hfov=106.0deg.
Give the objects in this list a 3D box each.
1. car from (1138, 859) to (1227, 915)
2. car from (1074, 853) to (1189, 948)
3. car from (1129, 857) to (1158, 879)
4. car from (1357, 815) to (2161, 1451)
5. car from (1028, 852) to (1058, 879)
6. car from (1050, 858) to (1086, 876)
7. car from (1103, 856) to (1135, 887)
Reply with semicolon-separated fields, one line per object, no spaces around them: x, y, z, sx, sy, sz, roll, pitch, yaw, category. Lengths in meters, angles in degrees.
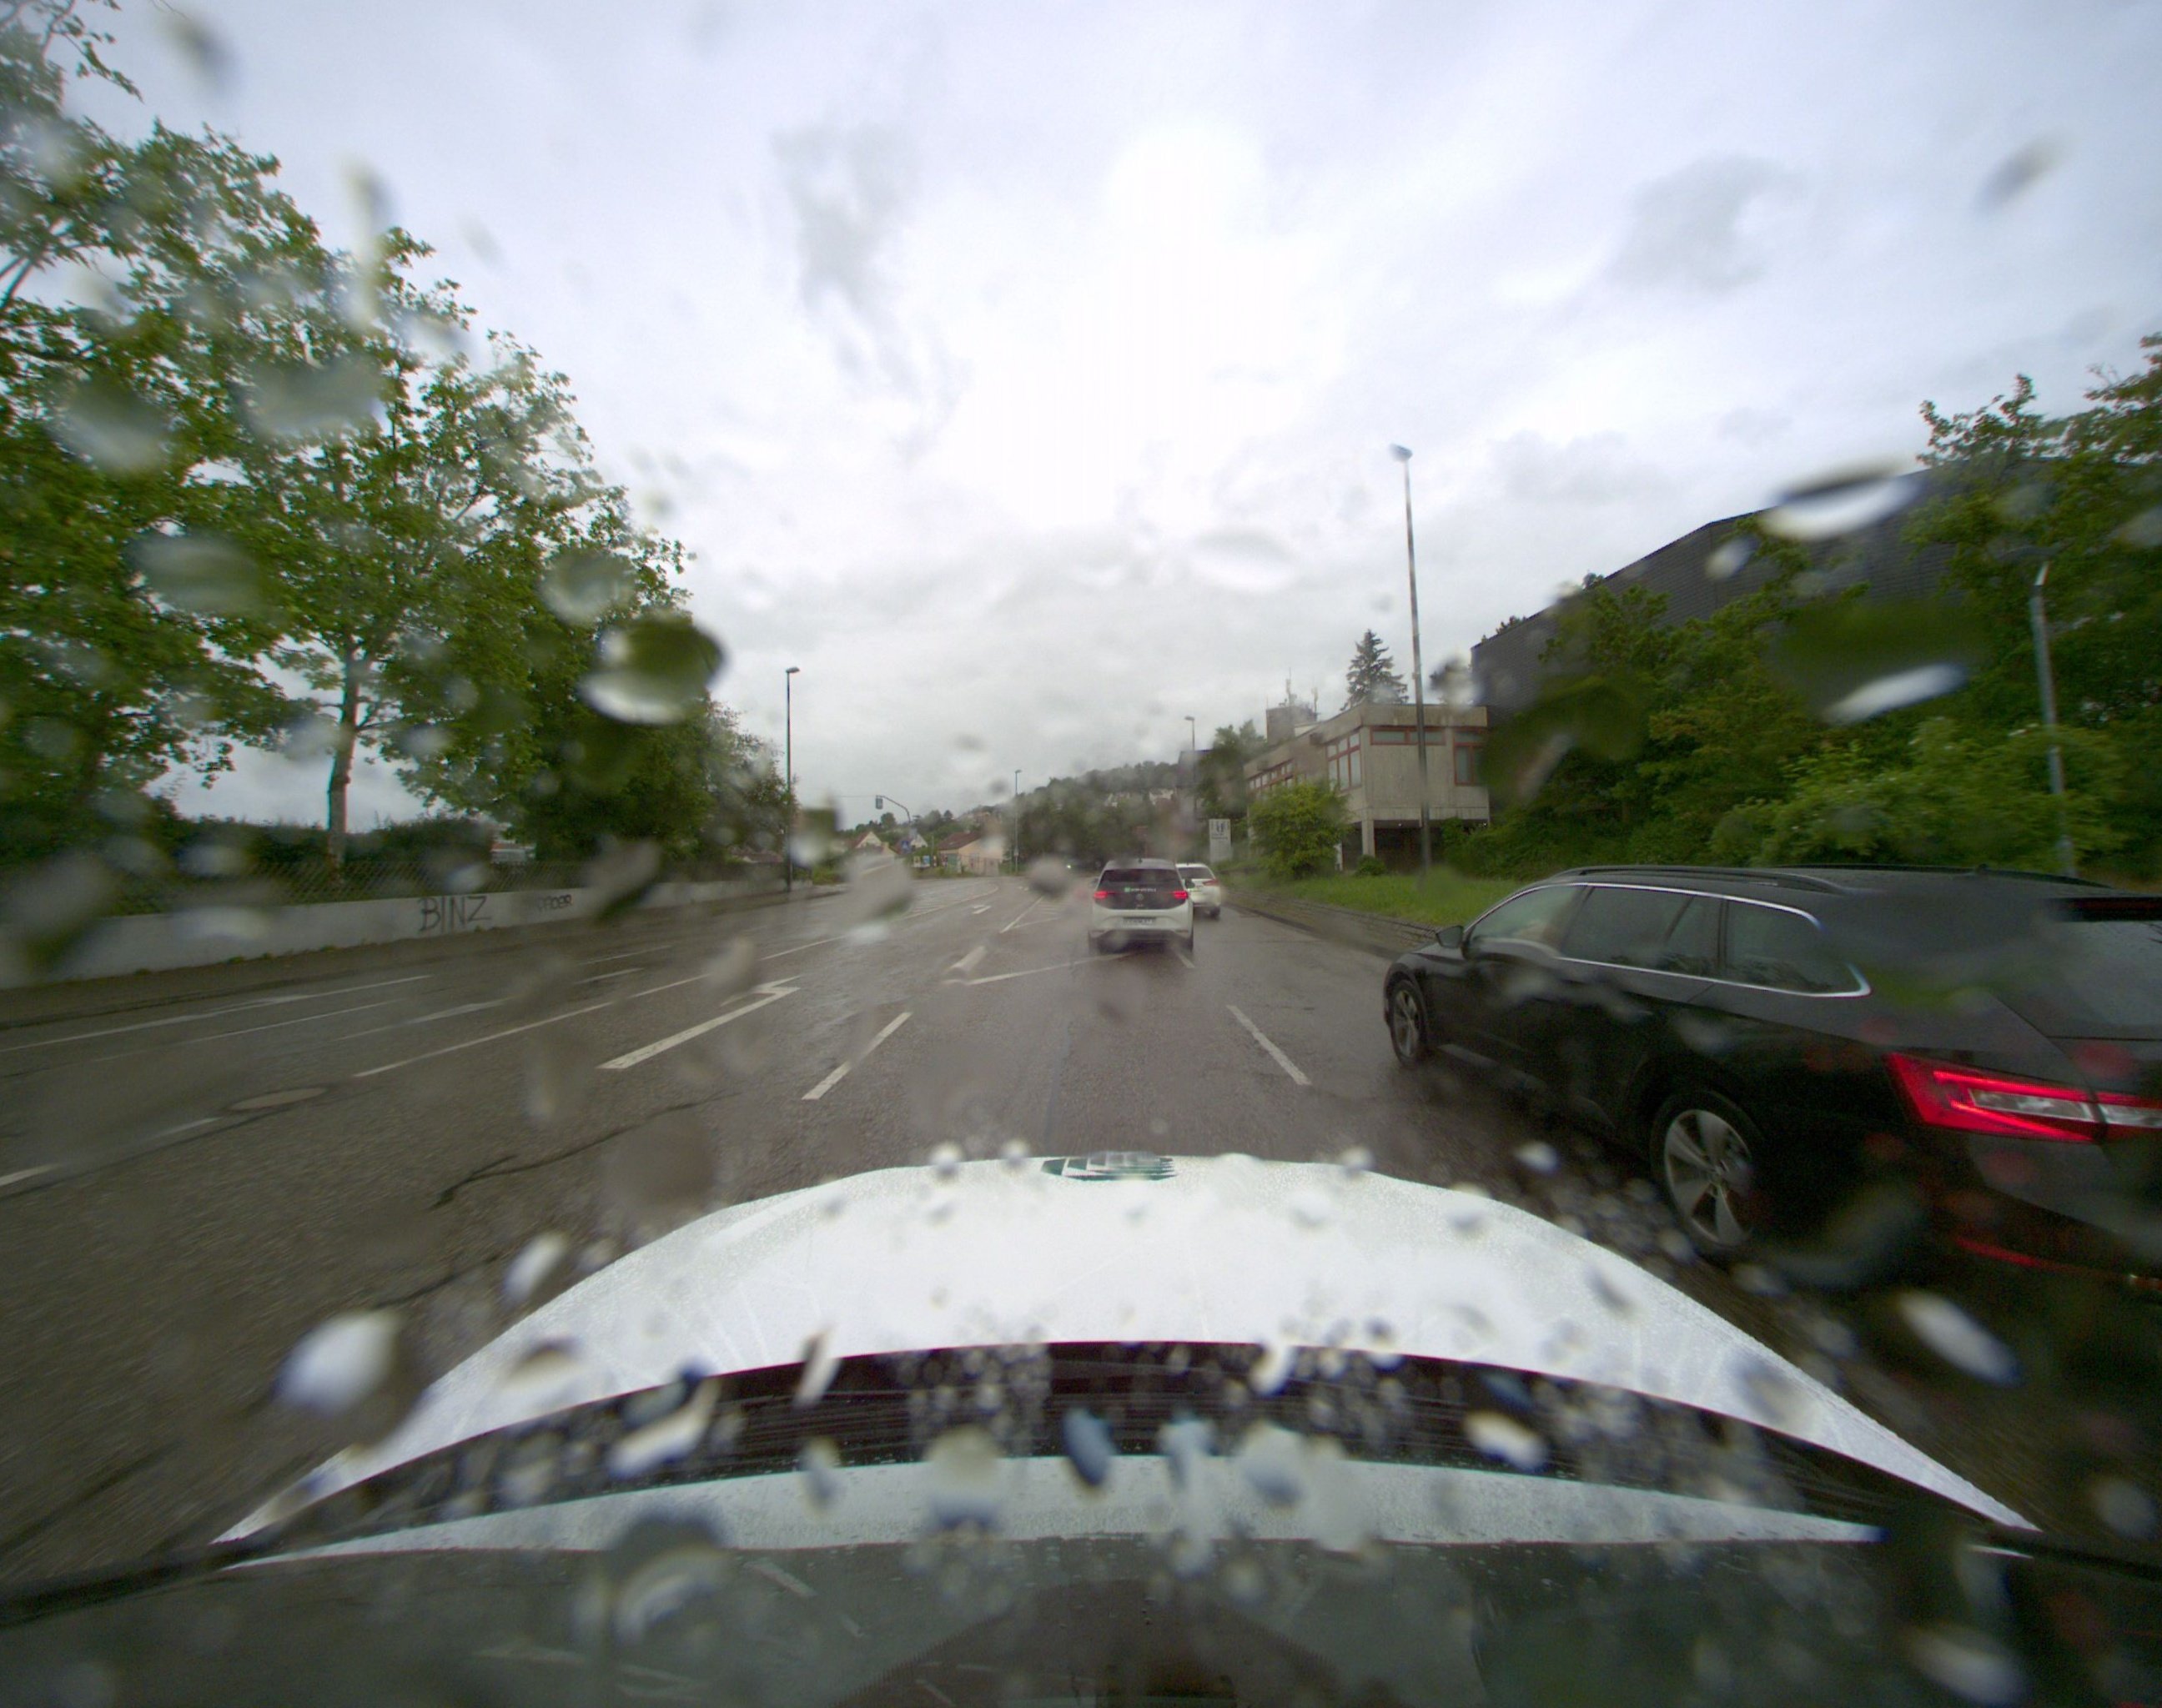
2.736;0.893;22.950;1.843;1.410;4.298;-1;-1;-2;car
0.959;0.788;15.041;1.820;1.500;4.173;-1;-1;4;car
4.496;1.010;58.670;1.985;1.453;3.775;-3;-2;4;car
3.213;0.732;4.277;1.948;1.507;4.607;1;-1;0;car
-2.913;0.912;62.800;1.986;2.014;4.002;0;-2;2;car
-1.263;1.272;79.679;1.977;1.693;4.728;0;-2;20;car
1.987;0.913;43.074;1.561;1.530;4.001;-1;0;2;car
